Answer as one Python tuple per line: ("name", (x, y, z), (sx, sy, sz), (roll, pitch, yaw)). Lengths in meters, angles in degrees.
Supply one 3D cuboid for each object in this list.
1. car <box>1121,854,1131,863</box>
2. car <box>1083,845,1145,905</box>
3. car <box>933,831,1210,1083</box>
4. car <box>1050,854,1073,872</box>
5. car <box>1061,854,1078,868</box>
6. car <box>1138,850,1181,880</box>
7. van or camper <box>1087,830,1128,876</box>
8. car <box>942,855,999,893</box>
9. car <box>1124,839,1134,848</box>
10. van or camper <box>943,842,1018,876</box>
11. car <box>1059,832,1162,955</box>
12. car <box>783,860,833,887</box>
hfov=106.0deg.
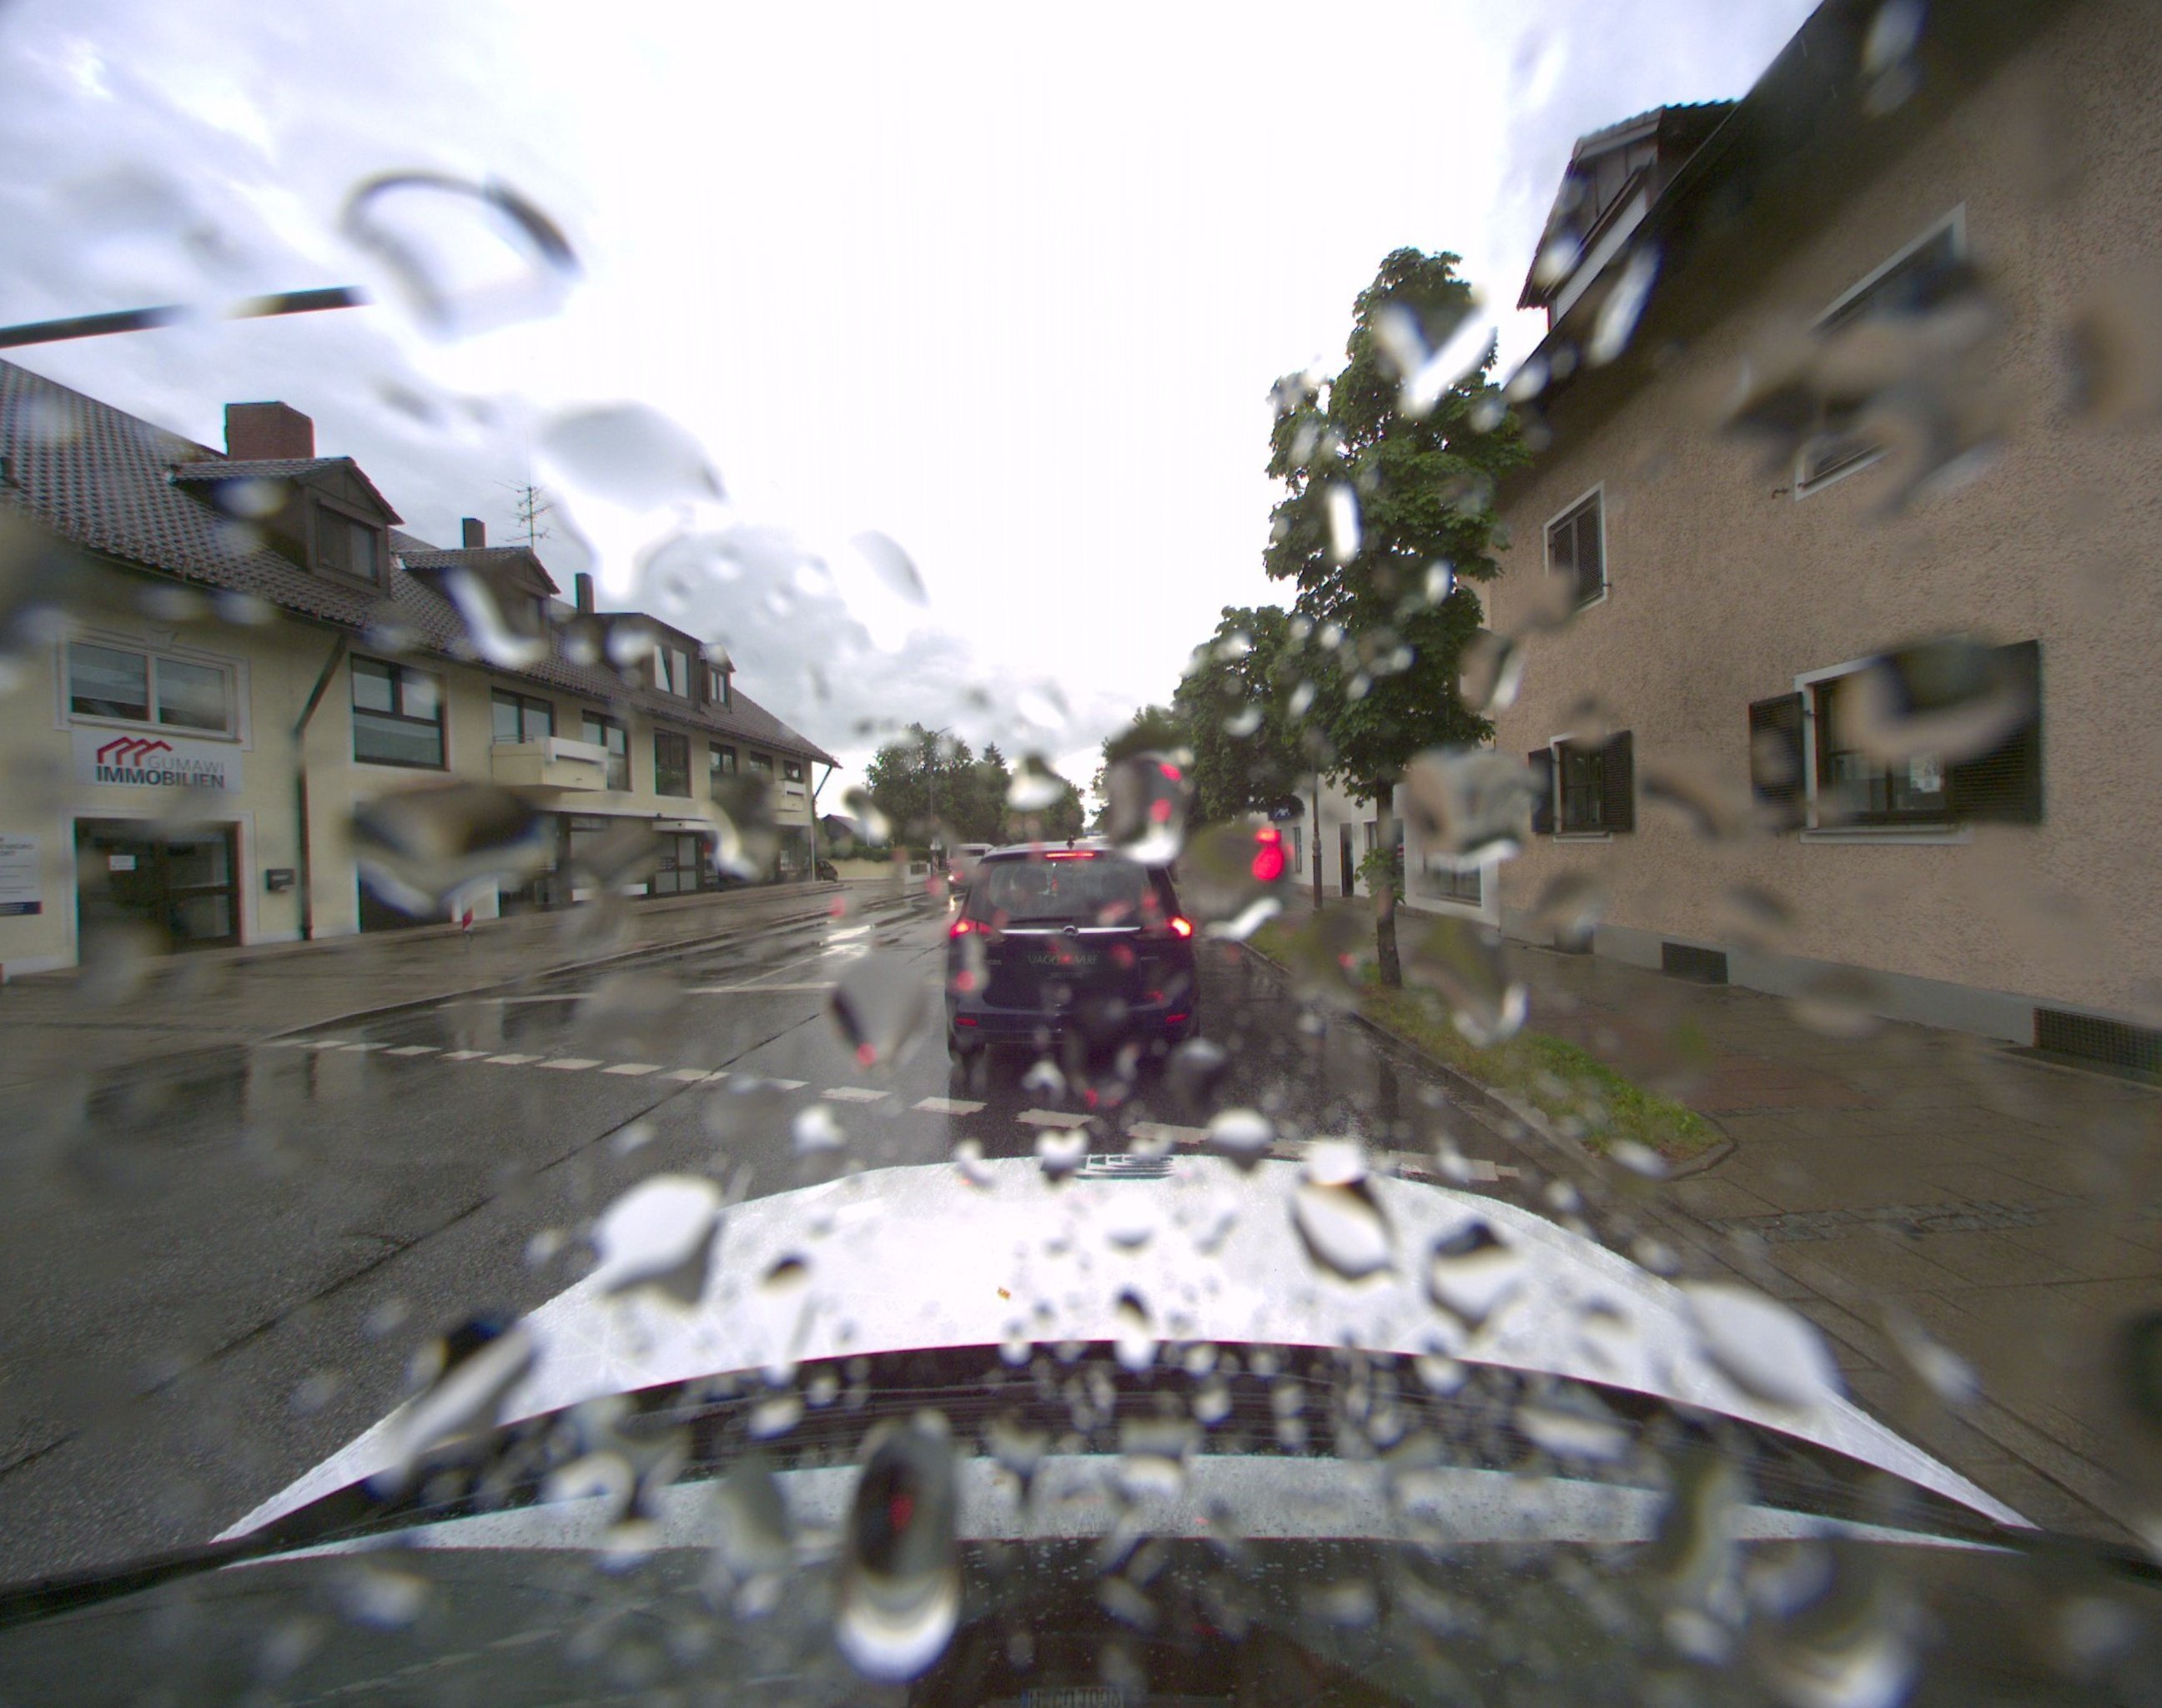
("car", (7.335, 0.769, 132.958), (1.624, 1.378, 3.624), (0, -1, 2))
("car", (1.022, 0.606, 25.383), (1.749, 1.706, 3.620), (-2, 0, 2))
("car", (-0.004, 0.657, 7.023), (1.762, 1.604, 3.665), (0, 0, 2))
("car", (-1.873, 0.860, 79.413), (1.960, 1.563, 4.153), (-3, 0, 2))
("car", (-1.403, 0.832, 99.323), (1.920, 1.566, 4.127), (-2, 0, 1))
("car", (4.257, 0.592, 44.713), (2.110, 1.581, 3.936), (0, 0, 1))
("van or camper", (1.664, -0.047, 51.510), (2.351, 2.665, 5.374), (-2, 0, 2))
("car", (-5.023, 0.884, 37.442), (1.909, 1.533, 3.900), (-3, 0, 1))
("car", (8.471, -1.861, 142.871), (1.624, 1.378, 3.624), (-3, 0, 1))
("van or camper", (-8.641, 0.445, 70.272), (6.237, 2.707, 2.097), (-2, 0, -5))
("car", (0.479, 0.568, 13.379), (1.495, 1.776, 3.113), (0, 0, 2))
("car", (-15.915, 1.101, 47.642), (1.601, 1.380, 3.511), (-3, 0, 2))
